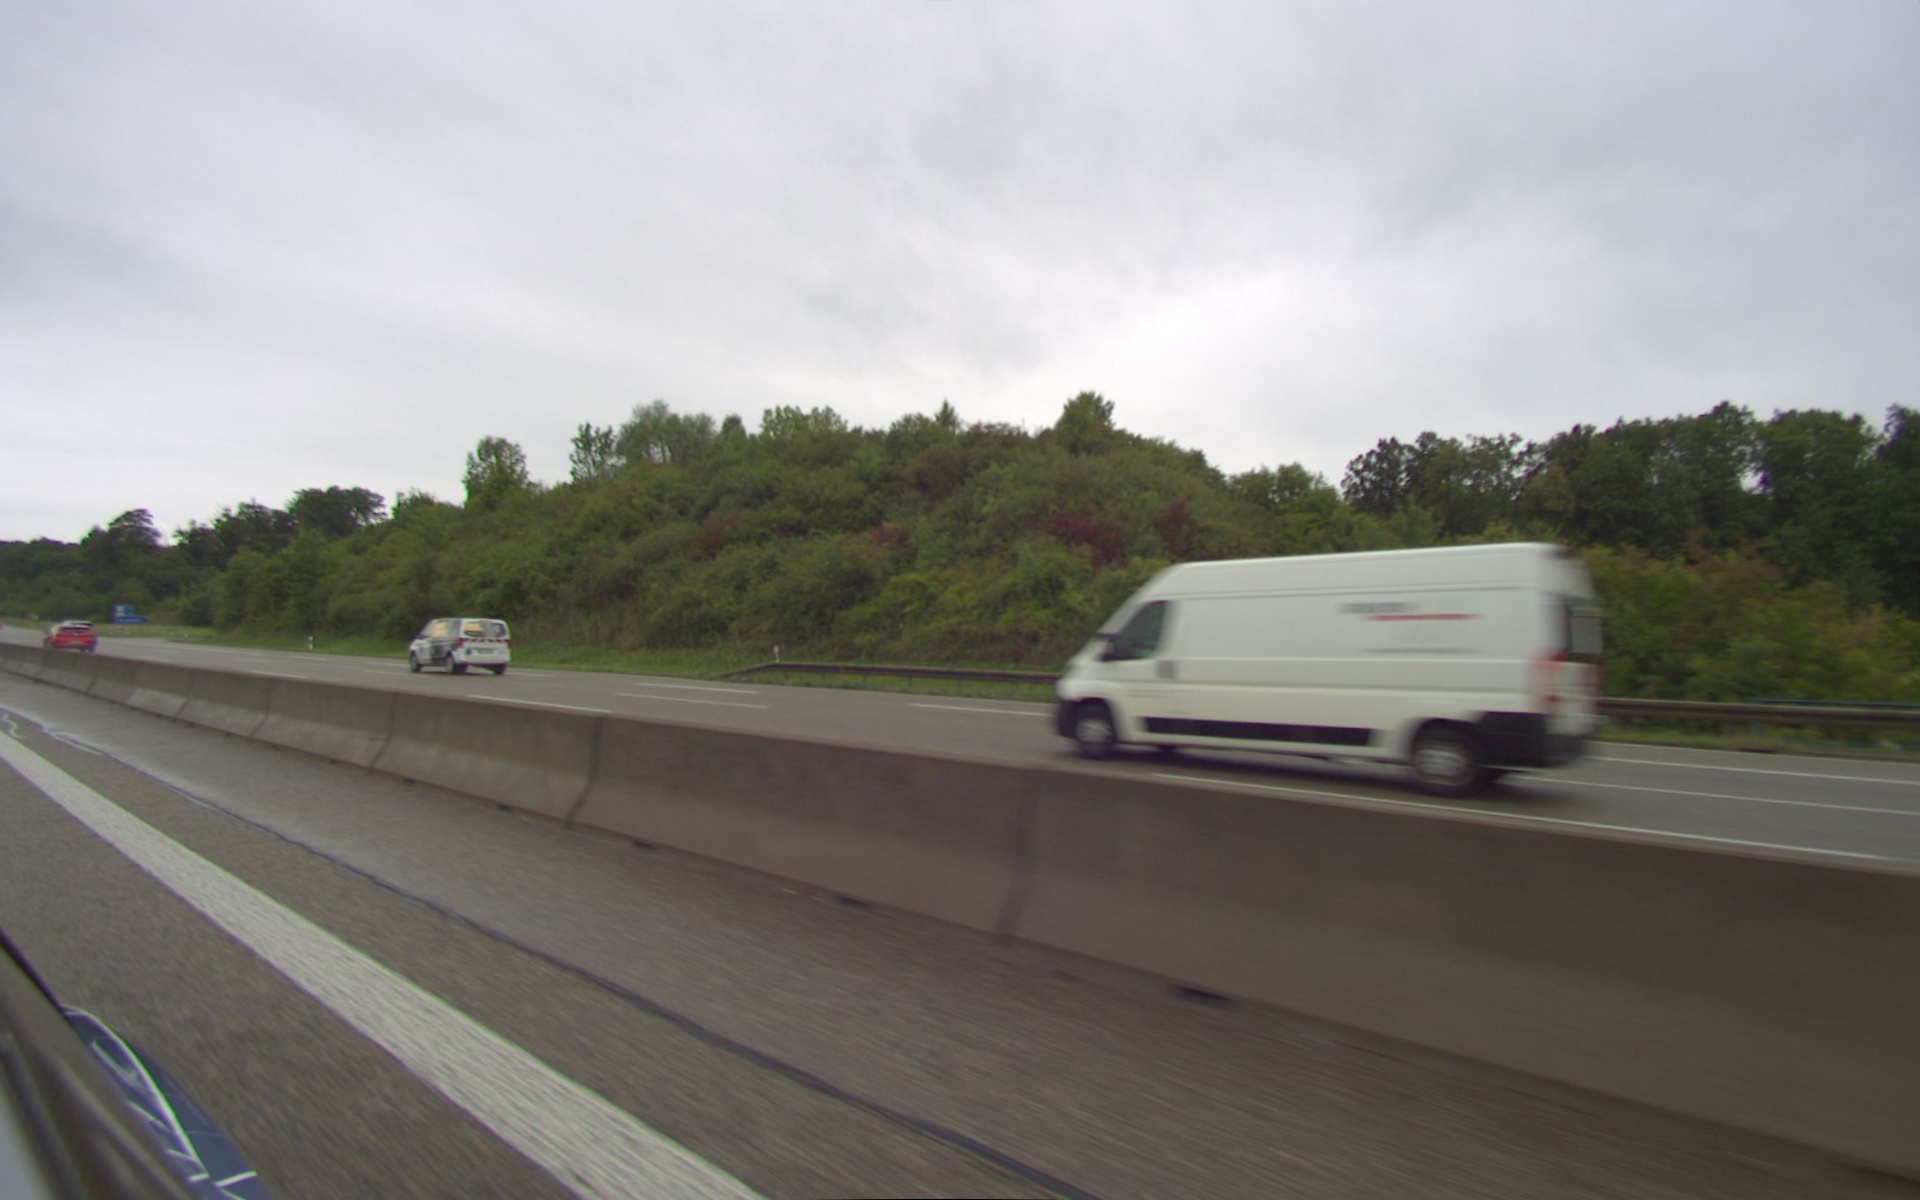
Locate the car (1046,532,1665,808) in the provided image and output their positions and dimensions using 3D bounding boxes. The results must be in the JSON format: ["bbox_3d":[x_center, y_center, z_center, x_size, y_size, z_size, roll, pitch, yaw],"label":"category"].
[{"bbox_3d":[4.146,0.678,11.497,6.169,2.349,2.254,-1,-3,40],"label":"car"}]

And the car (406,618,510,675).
[{"bbox_3d":[-18.030,1.639,36.237,4.528,1.919,1.723,-1,-3,41],"label":"car"}]

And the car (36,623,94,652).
[{"bbox_3d":[-46.803,1.938,52.888,4.363,1.423,1.618,-1,-4,40],"label":"car"}]
